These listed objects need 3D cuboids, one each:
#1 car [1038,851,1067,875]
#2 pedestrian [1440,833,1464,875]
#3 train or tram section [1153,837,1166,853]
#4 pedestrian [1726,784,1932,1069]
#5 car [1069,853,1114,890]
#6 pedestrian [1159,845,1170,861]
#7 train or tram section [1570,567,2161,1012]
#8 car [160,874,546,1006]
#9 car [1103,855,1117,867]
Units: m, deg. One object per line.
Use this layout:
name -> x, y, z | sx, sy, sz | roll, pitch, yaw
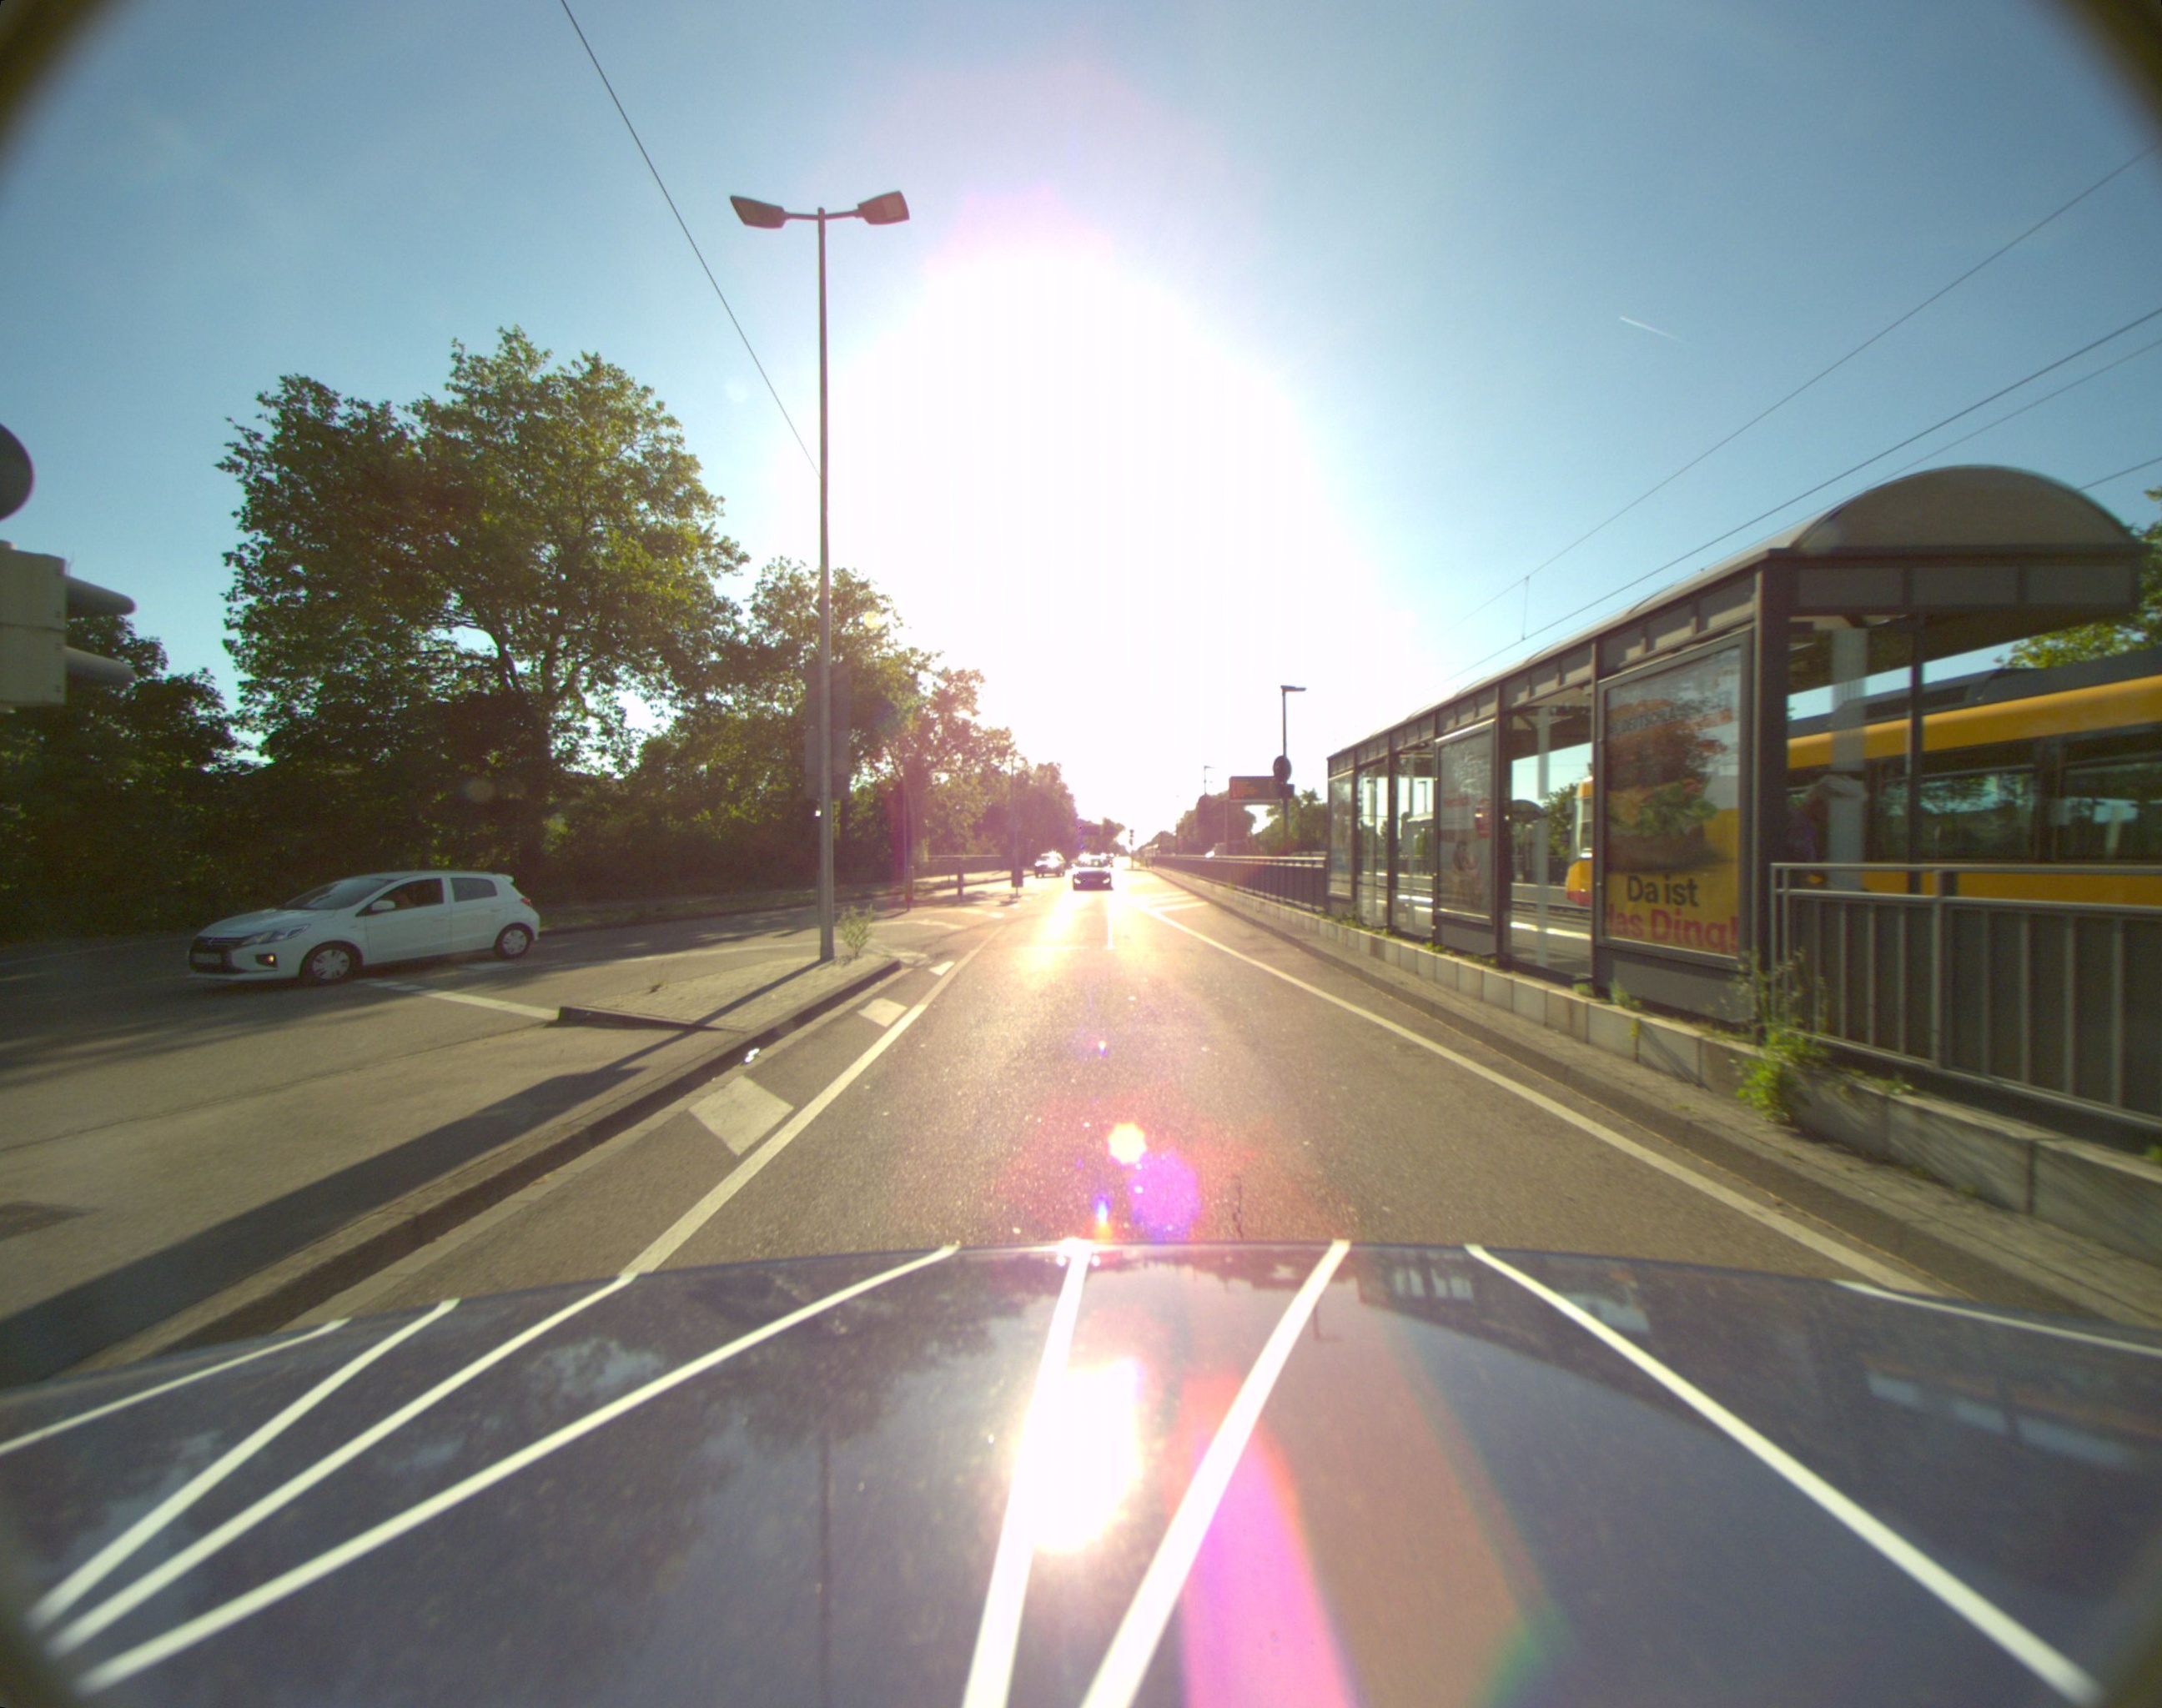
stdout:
car -> -2.050, 0.627, 55.853 | 1.824, 1.608, 4.000 | -1, 1, 2
pedestrian -> 15.840, -0.006, 32.445 | 0.588, 1.747, 0.700 | -1, 1, -14
train or tram section -> 20.496, -2.352, 199.214 | 2.890, 3.924, 12.114 | 0, 0, 3
pedestrian -> 4.322, 0.379, 4.458 | 0.760, 1.484, 0.696 | -1, 1, 36
car -> 0.533, 0.745, 34.212 | 1.786, 1.530, 4.001 | 0, 0, 4
pedestrian -> 8.598, -0.145, 78.271 | 0.892, 1.635, 0.986 | 0, 1, -3
train or tram section -> 11.160, -0.606, 7.765 | 2.834, 3.982, 15.877 | -1, 0, 3
car -> -10.323, 1.097, 11.197 | 1.669, 1.465, 3.749 | 0, 0, 16
car -> 3.978, 0.988, 104.280 | 1.783, 1.586, 4.000 | 0, 0, 2
